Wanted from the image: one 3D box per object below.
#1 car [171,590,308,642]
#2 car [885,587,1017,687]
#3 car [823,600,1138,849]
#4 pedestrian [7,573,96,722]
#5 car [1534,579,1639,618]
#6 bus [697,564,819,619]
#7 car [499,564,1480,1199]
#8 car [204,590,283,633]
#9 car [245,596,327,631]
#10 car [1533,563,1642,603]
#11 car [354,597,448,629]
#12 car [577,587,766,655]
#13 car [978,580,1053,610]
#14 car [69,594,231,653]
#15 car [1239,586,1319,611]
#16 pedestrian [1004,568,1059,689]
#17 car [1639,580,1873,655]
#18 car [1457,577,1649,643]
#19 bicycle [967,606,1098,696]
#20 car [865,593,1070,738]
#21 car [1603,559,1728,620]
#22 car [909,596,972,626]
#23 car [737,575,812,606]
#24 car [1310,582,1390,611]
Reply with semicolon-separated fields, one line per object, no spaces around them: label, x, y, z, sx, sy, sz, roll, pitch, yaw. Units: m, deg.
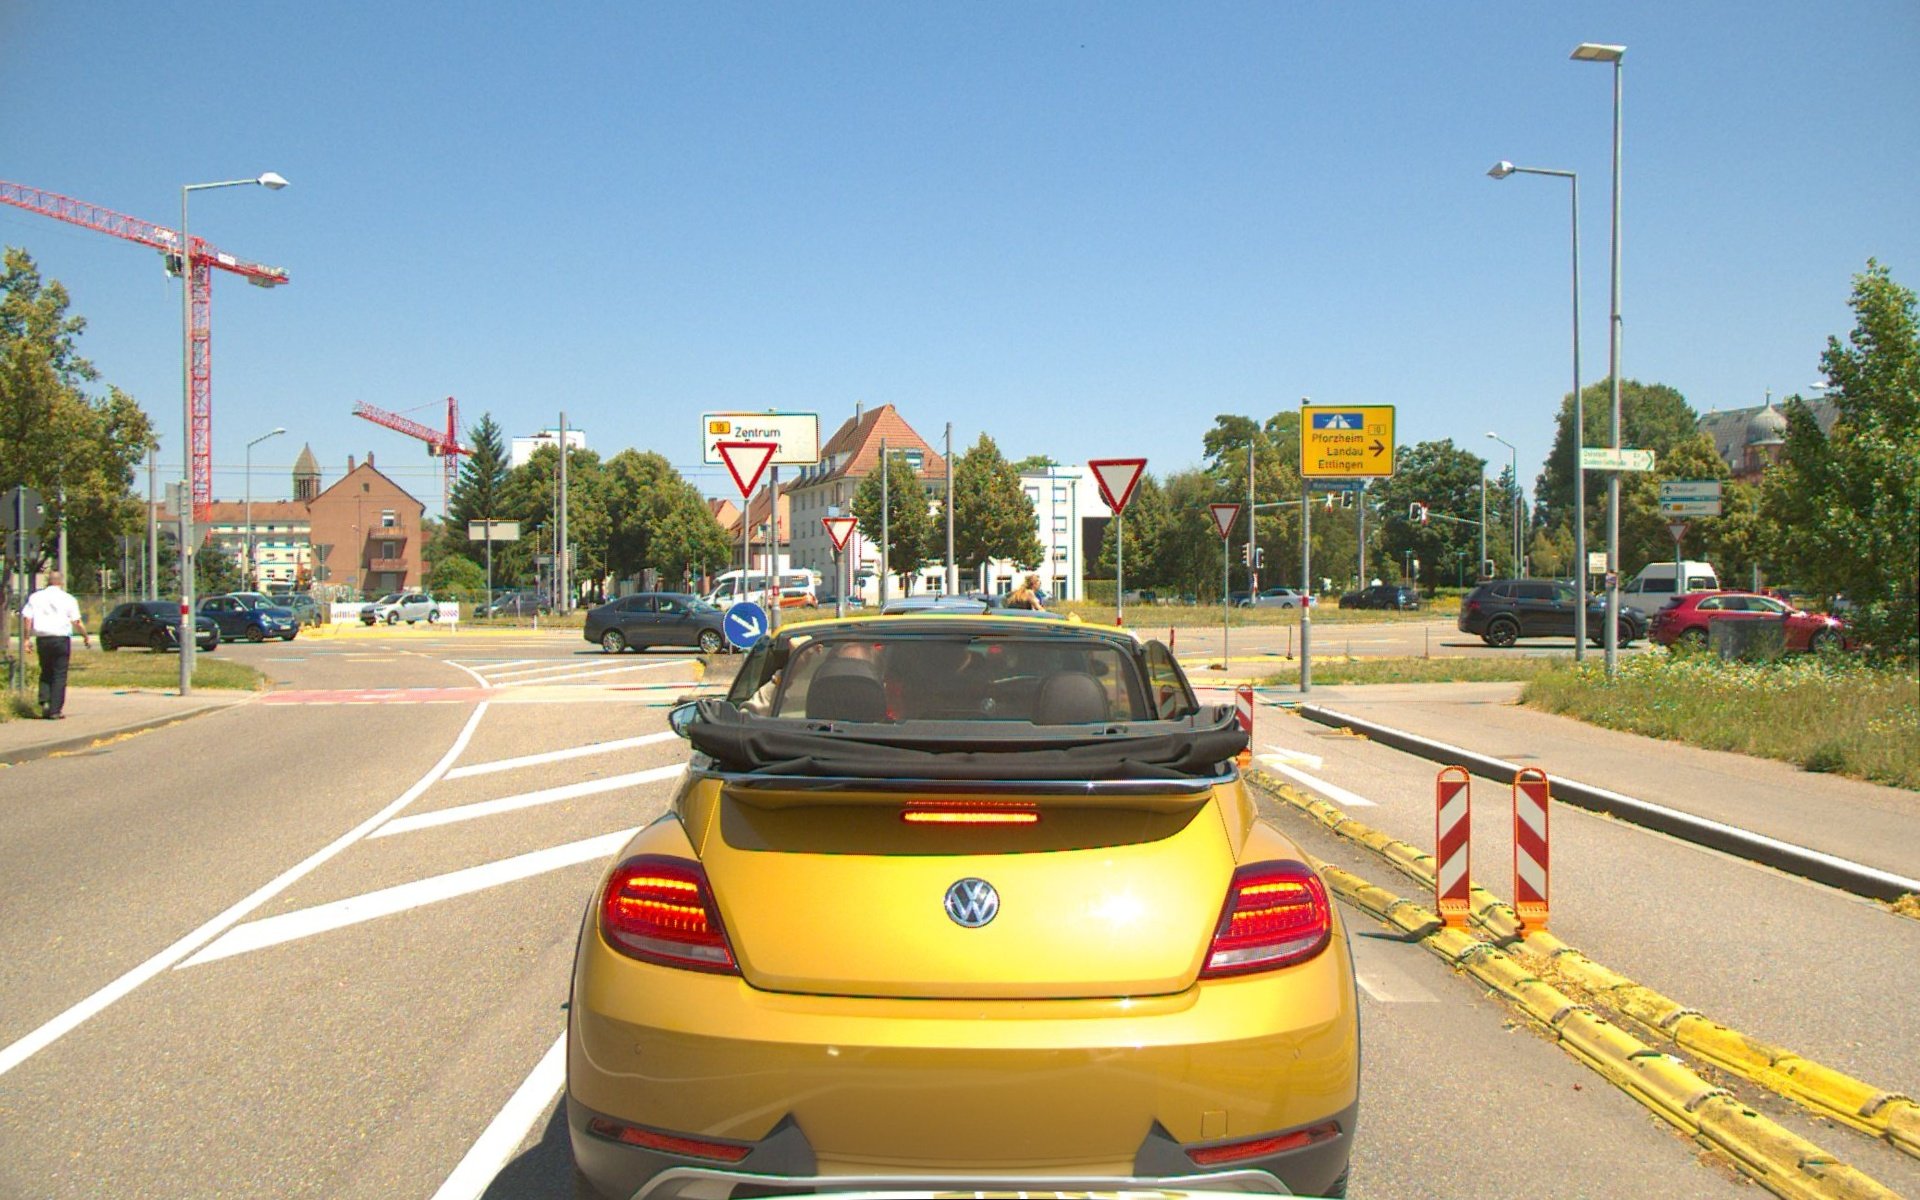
car;-23.535;0.513;54.021;3.903;1.579;1.729;1;0;17
car;-0.168;0.556;27.681;2.023;1.506;4.542;-1;0;-1
car;0.090;0.716;11.699;1.814;1.389;4.257;-1;0;-1
pedestrian;-11.434;0.587;20.844;0.623;1.817;0.968;1;-1;-6
car;33.184;-0.099;87.711;1.964;1.996;5.282;1;0;-27
bus;-12.506;-0.504;102.243;7.146;3.228;2.247;1;0;-21
car;0.027;0.713;5.069;1.729;1.507;4.257;1;0;-1
car;-27.117;0.424;62.720;1.742;1.554;3.866;-1;0;-7
car;-27.824;0.541;68.397;1.711;1.395;4.329;1;0;-2
car;33.102;-0.883;87.401;1.968;1.996;5.270;1;0;-32
car;-26.364;0.607;78.142;1.693;1.427;4.267;1;0;26
car;-7.108;0.508;40.847;4.237;1.579;1.729;1;0;13
car;3.381;-0.284;100.473;4.335;1.766;1.850;1;0;10
car;-23.015;0.644;47.030;3.902;1.579;1.729;1;0;13
car;18.150;-0.100;94.149;4.257;1.395;1.740;1;0;44
pedestrian;1.043;0.410;24.076;0.717;1.721;0.575;1;-1;9
car;17.676;0.376;36.923;4.311;1.554;2.002;1;0;9
car;15.069;0.249;42.256;4.311;1.623;2.002;-1;0;9
bicycle;1.060;0.733;24.044;1.803;1.253;0.614;-2;-1;10
car;0.045;0.663;18.599;2.023;1.406;4.257;1;0;-1
car;29.339;-0.411;68.973;1.954;2.439;5.307;1;0;-15
car;-1.212;0.675;104.888;3.904;1.803;1.787;1;0;2
car;-11.114;-0.542;98.986;4.350;1.766;1.844;1;0;-11
car;22.674;-0.195;96.226;1.864;1.642;4.267;1;0;-40
